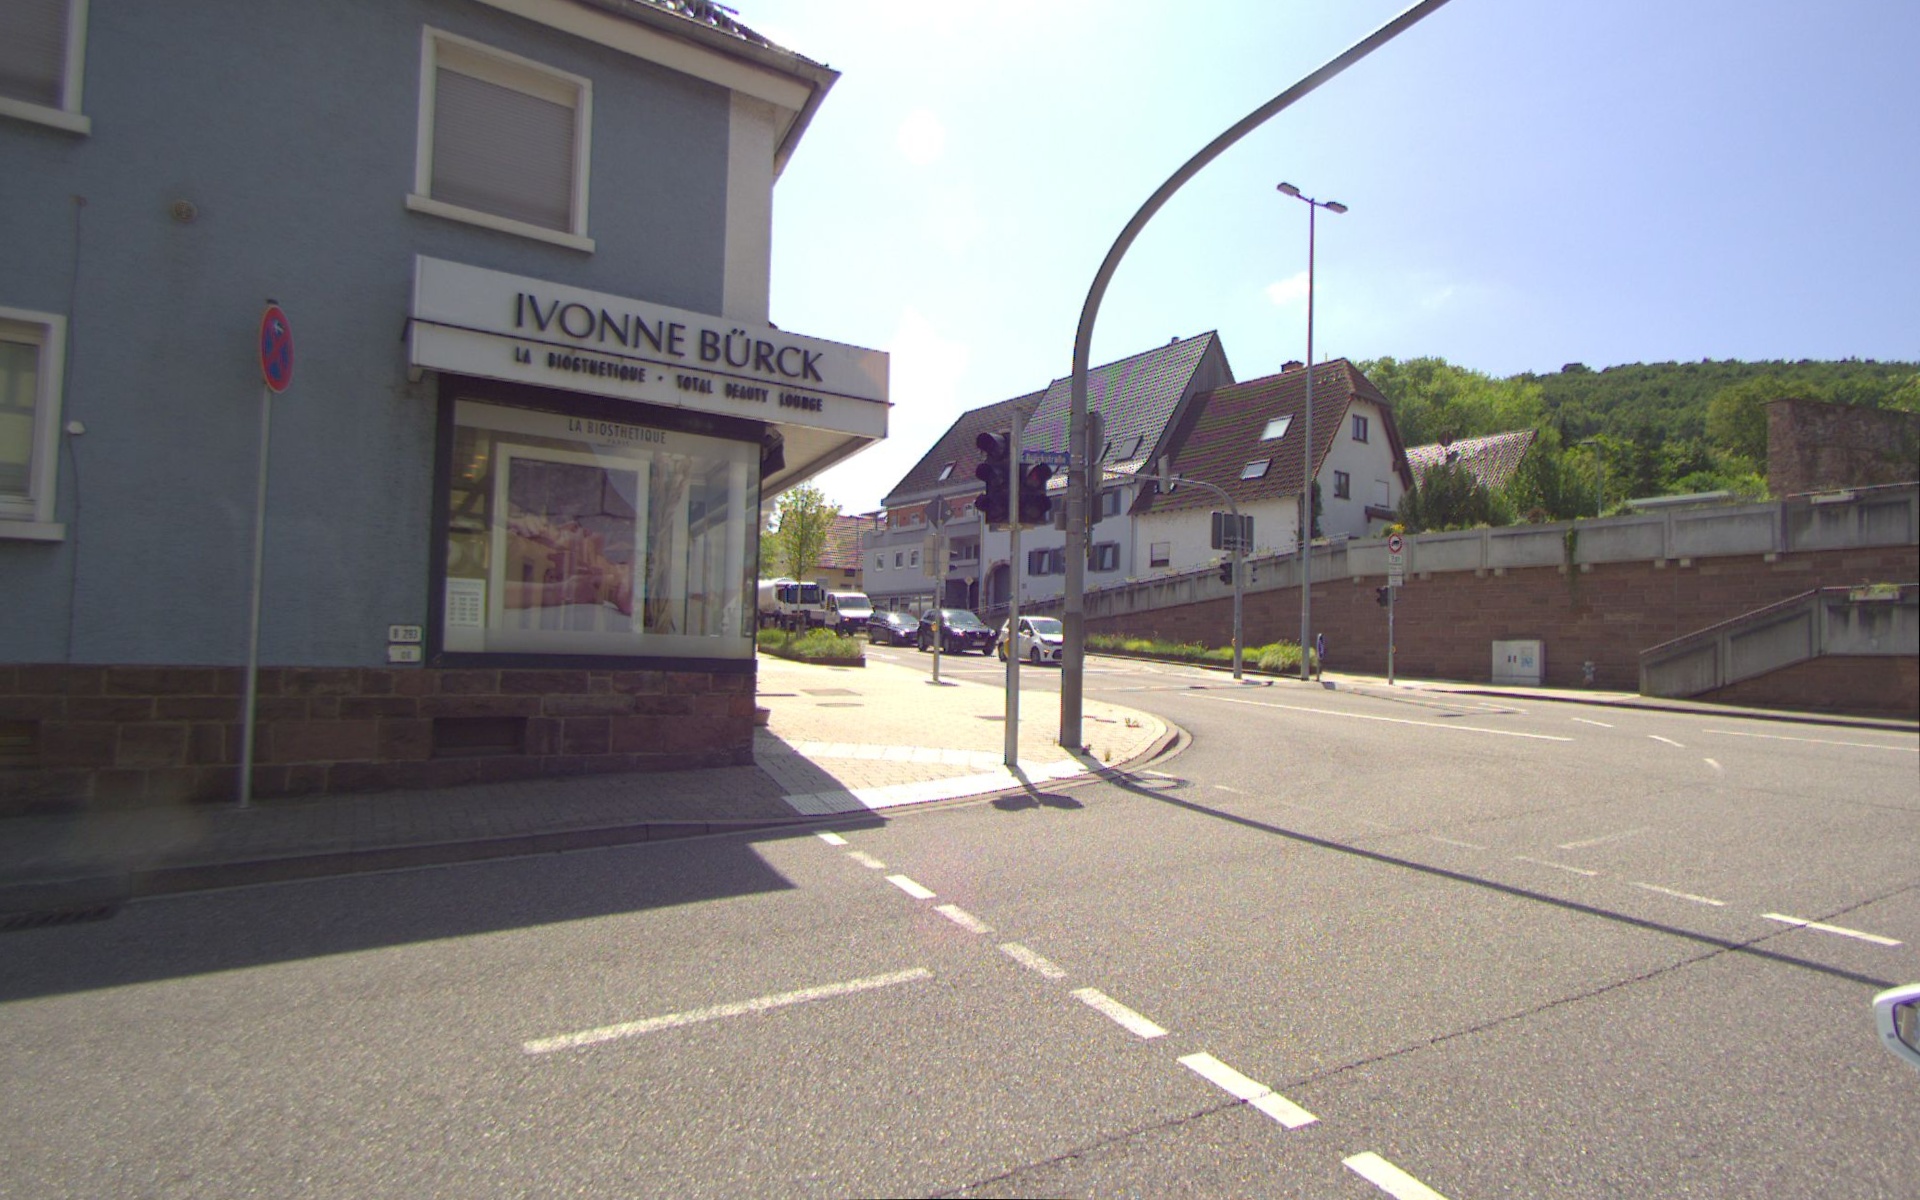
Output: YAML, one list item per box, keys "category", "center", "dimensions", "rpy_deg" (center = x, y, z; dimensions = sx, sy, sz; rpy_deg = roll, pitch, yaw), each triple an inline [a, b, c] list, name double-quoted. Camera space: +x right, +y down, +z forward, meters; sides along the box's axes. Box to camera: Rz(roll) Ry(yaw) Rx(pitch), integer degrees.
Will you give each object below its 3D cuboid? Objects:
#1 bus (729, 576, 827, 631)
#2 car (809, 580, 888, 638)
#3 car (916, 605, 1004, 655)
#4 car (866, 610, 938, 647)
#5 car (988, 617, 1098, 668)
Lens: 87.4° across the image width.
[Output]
- category: "bus"
  center: [-11.936, 0.222, 64.631]
  dimensions: [2.516, 3.211, 12.559]
  rpy_deg: [1, 0, -28]
- category: "car"
  center: [-5.986, 0.471, 53.071]
  dimensions: [2.273, 2.859, 6.467]
  rpy_deg: [1, 0, -24]
- category: "car"
  center: [-0.063, 1.077, 37.705]
  dimensions: [1.838, 1.737, 3.977]
  rpy_deg: [1, 0, -24]
- category: "car"
  center: [-2.591, 1.223, 43.918]
  dimensions: [1.839, 1.499, 3.975]
  rpy_deg: [1, 0, -25]
- category: "car"
  center: [2.601, 1.322, 32.455]
  dimensions: [1.839, 1.499, 3.975]
  rpy_deg: [1, 0, -25]
